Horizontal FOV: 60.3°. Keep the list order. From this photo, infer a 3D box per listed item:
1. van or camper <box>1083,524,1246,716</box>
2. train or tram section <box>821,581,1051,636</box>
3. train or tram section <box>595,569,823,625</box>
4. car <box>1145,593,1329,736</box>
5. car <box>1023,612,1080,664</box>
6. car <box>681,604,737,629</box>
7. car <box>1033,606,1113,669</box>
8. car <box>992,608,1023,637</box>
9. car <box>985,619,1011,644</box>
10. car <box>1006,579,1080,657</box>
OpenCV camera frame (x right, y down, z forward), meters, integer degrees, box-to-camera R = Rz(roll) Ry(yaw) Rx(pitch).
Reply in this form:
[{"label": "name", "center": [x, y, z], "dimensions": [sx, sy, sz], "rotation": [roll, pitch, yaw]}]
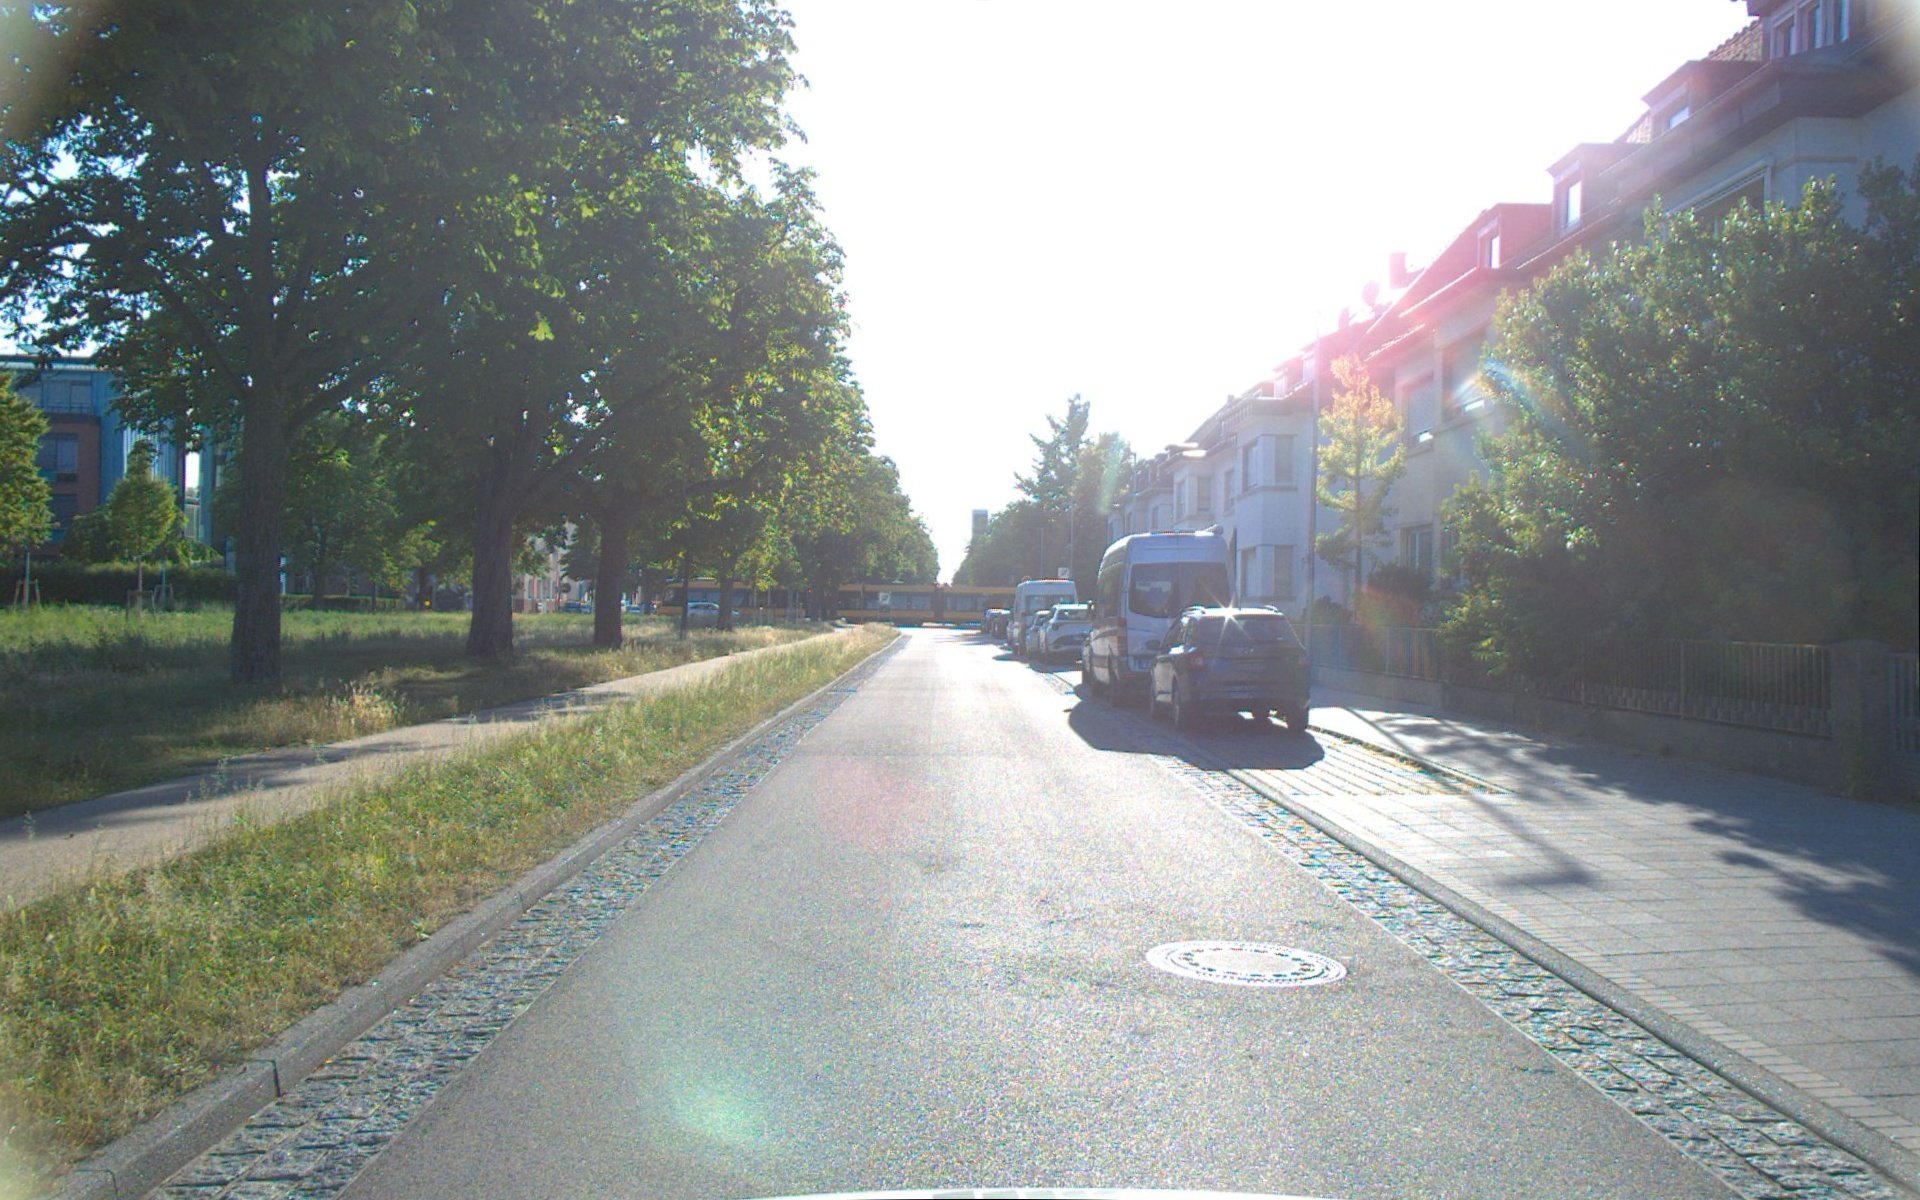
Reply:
[{"label": "van or camper", "center": [3.298, 0.363, 27.814], "dimensions": [1.904, 2.826, 5.938], "rotation": [2, -1, 0]}, {"label": "train or tram section", "center": [-2.091, 0.780, 141.719], "dimensions": [19.397, 4.026, 3.639], "rotation": [2, -1, -5]}, {"label": "train or tram section", "center": [-21.039, -0.242, 139.724], "dimensions": [18.707, 4.026, 3.638], "rotation": [2, -1, -7]}, {"label": "car", "center": [3.482, 0.779, 21.473], "dimensions": [1.630, 1.621, 4.085], "rotation": [-2, -1, 0]}, {"label": "car", "center": [2.831, 1.156, 51.863], "dimensions": [1.616, 1.557, 3.851], "rotation": [-1, 0, 1]}, {"label": "car", "center": [-19.830, 1.298, 130.762], "dimensions": [4.266, 1.795, 1.996], "rotation": [2, -1, -9]}, {"label": "car", "center": [3.133, 1.023, 46.475], "dimensions": [1.800, 1.664, 4.129], "rotation": [0, 0, -2]}, {"label": "car", "center": [2.558, 1.207, 89.864], "dimensions": [1.616, 1.557, 3.851], "rotation": [-1, 0, 1]}, {"label": "car", "center": [2.414, 2.038, 106.685], "dimensions": [1.616, 1.557, 3.851], "rotation": [-1, 0, 1]}, {"label": "car", "center": [2.849, 0.619, 58.024], "dimensions": [2.084, 2.577, 5.185], "rotation": [0, 0, -3]}]
